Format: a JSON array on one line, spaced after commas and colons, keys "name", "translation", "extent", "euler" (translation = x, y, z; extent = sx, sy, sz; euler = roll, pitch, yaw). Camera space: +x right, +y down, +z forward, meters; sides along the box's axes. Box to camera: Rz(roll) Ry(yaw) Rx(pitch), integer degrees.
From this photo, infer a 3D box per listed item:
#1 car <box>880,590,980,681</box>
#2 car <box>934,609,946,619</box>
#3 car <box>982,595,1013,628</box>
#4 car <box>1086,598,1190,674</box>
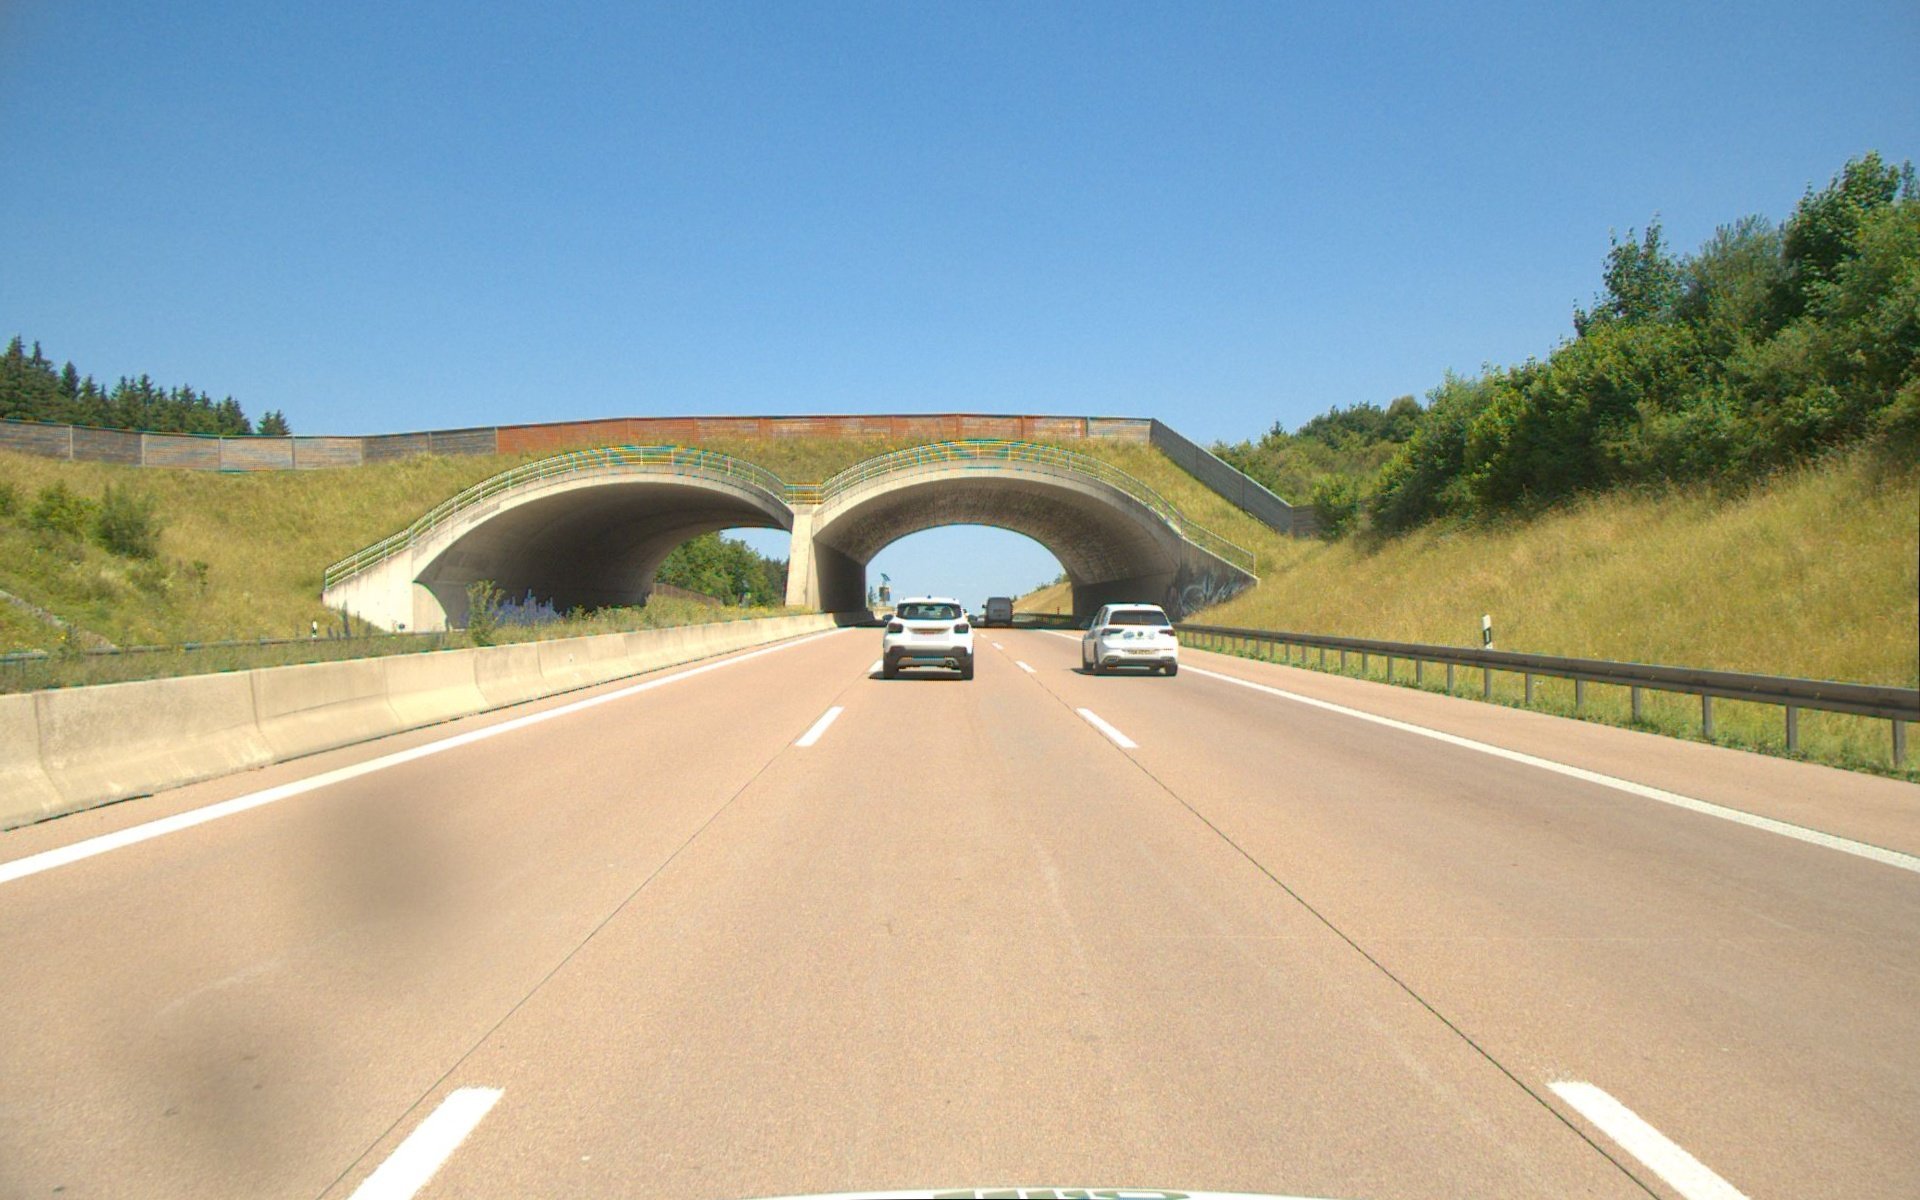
[{"name": "car", "translation": [-0.598, 0.638, 33.006], "extent": [1.841, 1.635, 4.833], "euler": [0, 1, -1]}, {"name": "car", "translation": [-3.050, 2.148, 252.937], "extent": [1.852, 1.489, 4.000], "euler": [1, 1, -1]}, {"name": "car", "translation": [2.594, 0.779, 113.358], "extent": [2.067, 2.089, 4.001], "euler": [0, 1, 1]}, {"name": "car", "translation": [3.747, 0.725, 35.433], "extent": [1.852, 1.422, 4.001], "euler": [1, 1, 1]}]
